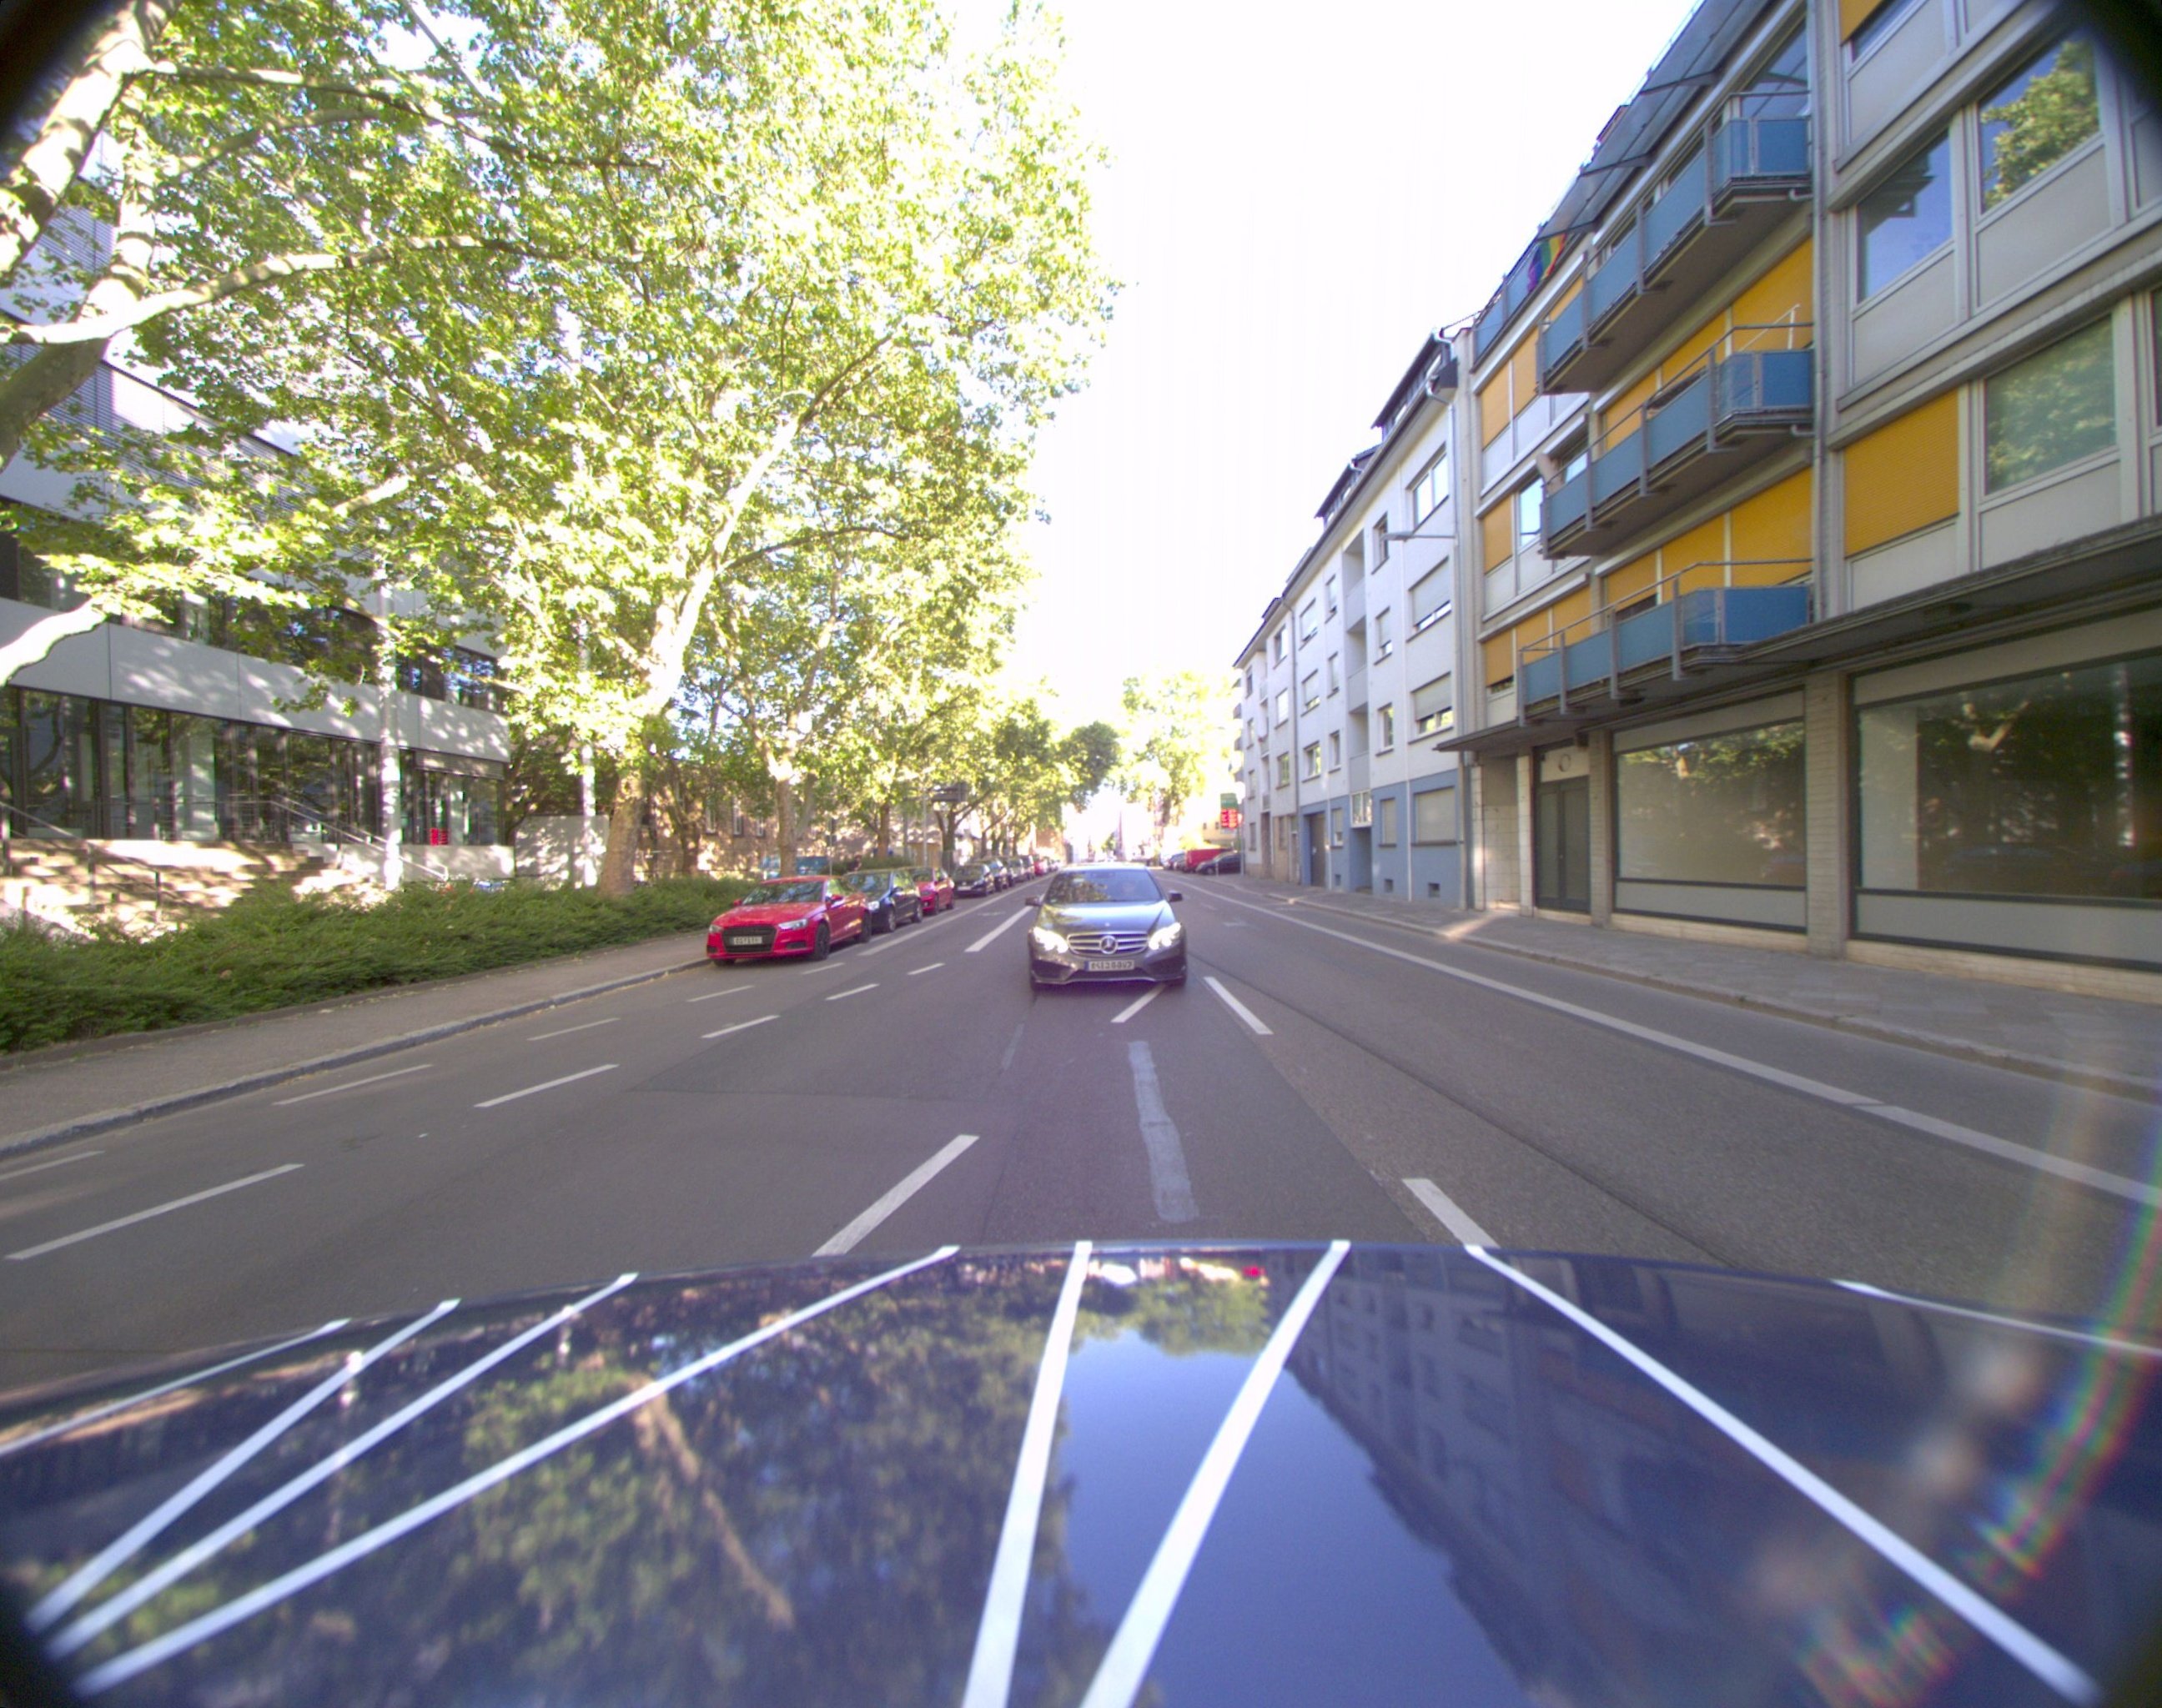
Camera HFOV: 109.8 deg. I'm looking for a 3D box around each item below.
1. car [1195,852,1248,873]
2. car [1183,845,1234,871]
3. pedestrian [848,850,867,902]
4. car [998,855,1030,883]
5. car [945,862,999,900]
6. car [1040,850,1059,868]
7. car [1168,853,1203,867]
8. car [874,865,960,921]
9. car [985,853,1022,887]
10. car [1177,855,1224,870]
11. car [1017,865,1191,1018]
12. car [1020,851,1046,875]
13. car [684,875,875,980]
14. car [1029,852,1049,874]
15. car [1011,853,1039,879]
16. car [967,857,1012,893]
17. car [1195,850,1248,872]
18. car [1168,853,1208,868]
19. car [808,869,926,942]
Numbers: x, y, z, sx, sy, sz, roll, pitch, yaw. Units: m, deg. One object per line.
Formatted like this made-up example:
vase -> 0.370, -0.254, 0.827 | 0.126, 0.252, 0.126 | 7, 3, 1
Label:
car -> 10.094, 0.596, 54.721 | 3.508, 1.380, 1.490 | -2, 1, 2
car -> 10.064, 0.328, 59.935 | 3.688, 1.897, 1.490 | -2, -1, -1
pedestrian -> -8.673, 0.837, 29.504 | 0.552, 2.002, 0.562 | -2, 1, -11
car -> -4.351, 0.944, 50.105 | 1.634, 1.604, 4.576 | -2, 1, 0
car -> -4.692, 1.114, 33.230 | 1.692, 1.414, 3.923 | -2, 1, 0
car -> -3.796, 0.591, 92.763 | 1.998, 2.002, 4.000 | -2, 0, 1
car -> 10.327, 0.590, 75.459 | 3.271, 1.238, 1.345 | -2, 1, 2
car -> -5.012, 1.135, 23.678 | 1.692, 1.441, 3.923 | -2, 1, 1
car -> -4.453, 0.858, 44.233 | 1.634, 1.781, 4.576 | -2, 1, 0
car -> 9.815, 0.700, 62.580 | 3.687, 1.122, 1.345 | -2, 1, 2
car -> 0.283, 0.946, 10.044 | 1.752, 1.423, 4.265 | -2, 1, 1
car -> -4.167, 0.729, 66.085 | 1.915, 1.940, 3.769 | -2, 1, 0
car -> -5.161, 1.181, 13.651 | 1.794, 1.384, 3.999 | -2, 1, 0
car -> -3.899, 0.813, 70.996 | 1.599, 1.835, 3.769 | -2, 1, 0
car -> -4.035, 0.820, 55.233 | 1.634, 1.725, 3.769 | -2, 1, 0
car -> -4.516, 0.996, 38.100 | 1.634, 1.569, 4.231 | -2, 1, 0
car -> 10.537, 0.491, 57.090 | 3.687, 1.503, 1.490 | -2, 1, 2
car -> 10.271, 0.635, 73.022 | 3.687, 1.238, 1.345 | -2, 1, 2
car -> -5.049, 1.164, 18.404 | 1.669, 1.410, 3.697 | -2, 1, 1
